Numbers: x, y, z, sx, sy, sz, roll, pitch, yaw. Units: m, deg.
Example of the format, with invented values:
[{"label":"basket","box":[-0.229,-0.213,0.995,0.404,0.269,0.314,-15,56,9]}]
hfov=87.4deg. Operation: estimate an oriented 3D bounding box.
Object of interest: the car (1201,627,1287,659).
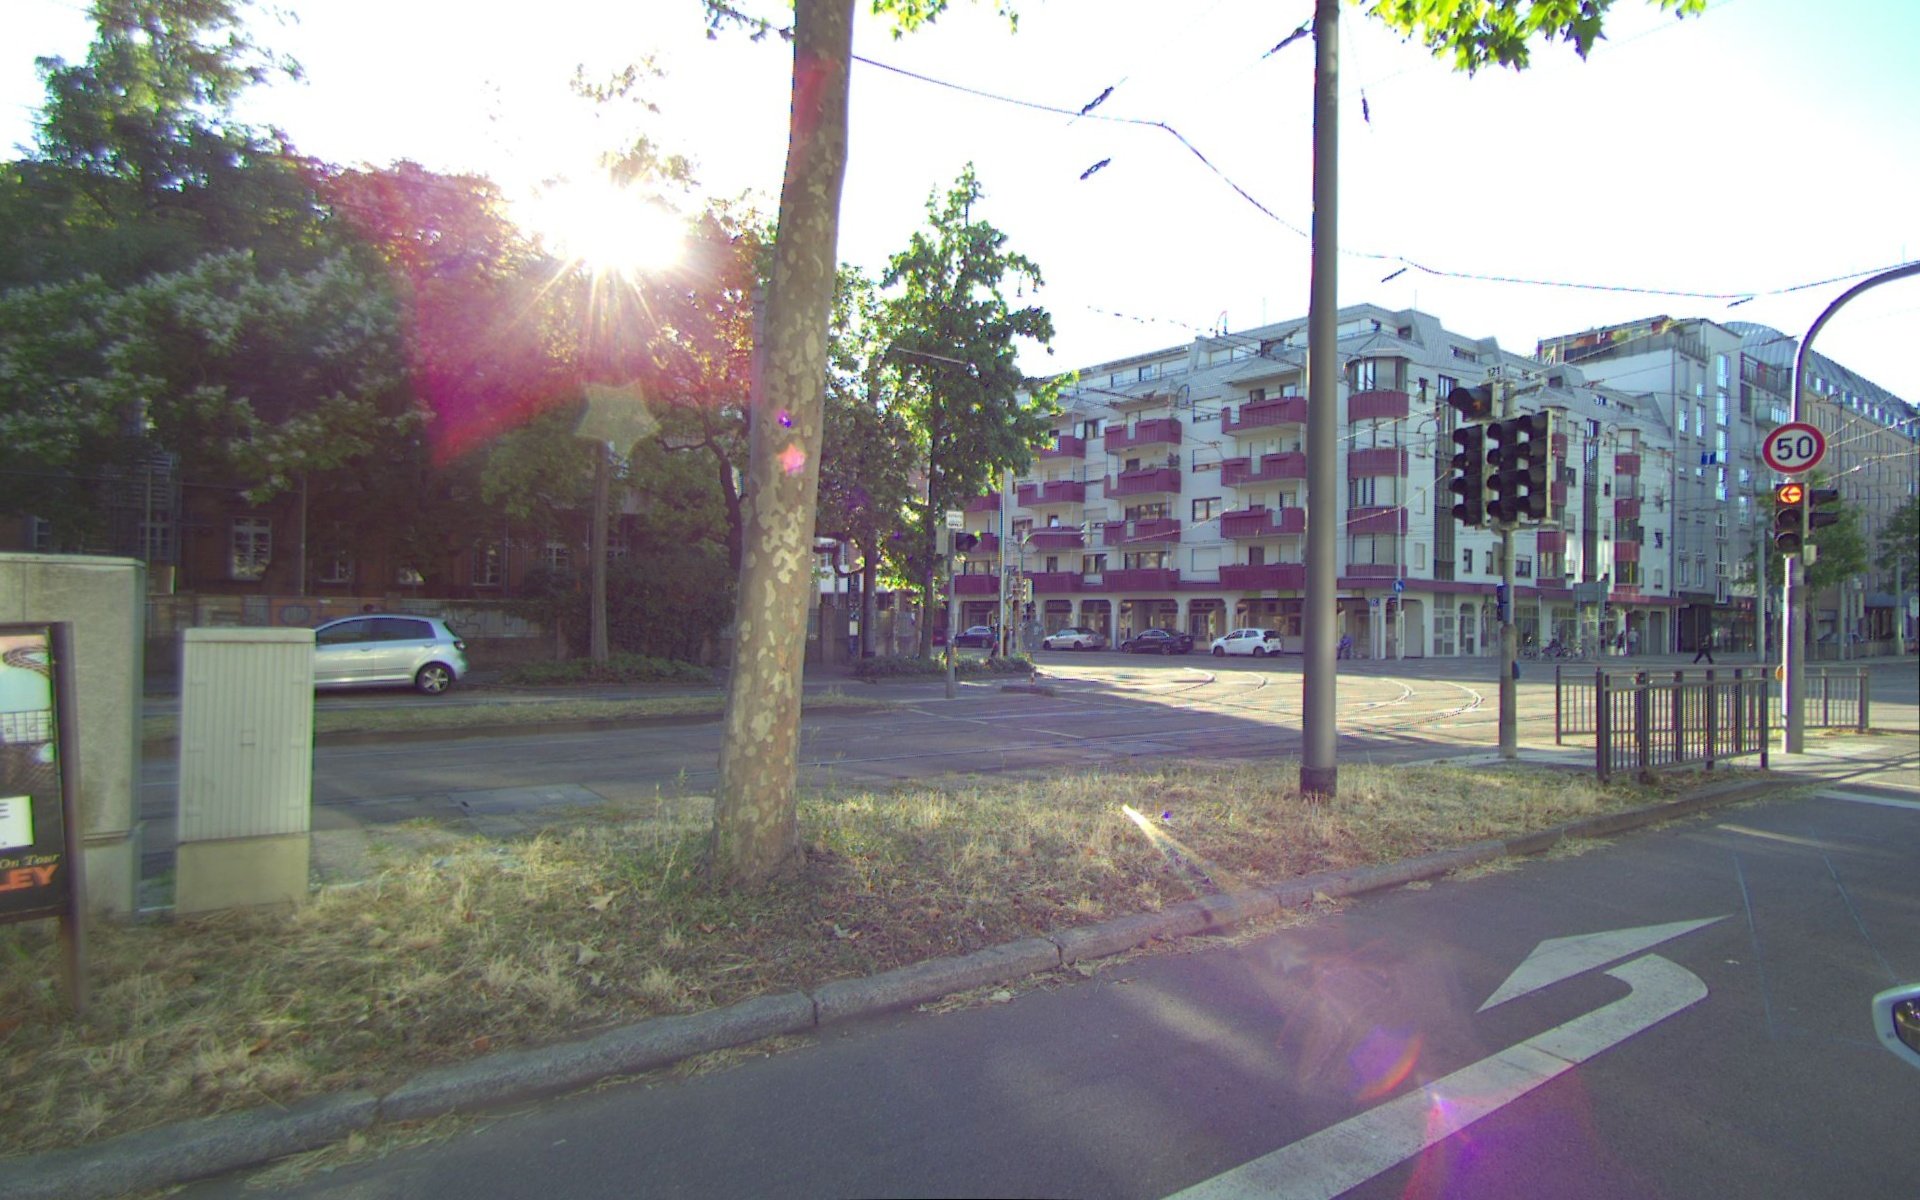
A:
[{"label":"car","box":[14.891,2.213,52.761,1.986,1.576,3.950,2,-2,-42]}]

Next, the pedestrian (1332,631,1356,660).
[{"label":"pedestrian","box":[19.104,2.252,49.940,0.848,1.402,0.831,0,-1,45]}]

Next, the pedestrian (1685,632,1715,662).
[{"label":"pedestrian","box":[38.344,2.430,52.036,0.684,1.564,1.045,1,-1,-19]}]

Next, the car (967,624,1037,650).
[{"label":"car","box":[2.721,2.417,66.230,1.986,1.576,4.527,2,-2,-42]}]

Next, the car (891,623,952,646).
[{"label":"car","box":[-2.811,2.449,72.202,1.986,1.576,4.527,2,-2,-42]}]

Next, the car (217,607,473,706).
[{"label":"car","box":[-11.955,1.042,19.621,4.062,1.641,2.065,2,1,-38]}]

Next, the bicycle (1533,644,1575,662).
[{"label":"bicycle","box":[30.410,2.694,51.446,0.547,0.865,1.833,1,-1,-32]}]

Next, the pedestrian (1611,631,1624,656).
[{"label":"pedestrian","box":[41.542,2.740,63.487,0.582,1.514,0.530,1,-1,-38]}]

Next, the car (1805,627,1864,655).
[{"label":"car","box":[55.851,2.606,64.121,4.219,1.695,1.942,1,-1,-36]}]

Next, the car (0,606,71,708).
[{"label":"car","box":[-16.900,0.871,15.633,4.418,1.522,2.065,2,1,-38]}]

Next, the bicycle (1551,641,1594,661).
[{"label":"bicycle","box":[31.979,2.654,52.451,0.548,0.998,1.830,1,-1,-36]}]

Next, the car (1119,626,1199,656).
[{"label":"car","box":[11.161,2.271,56.605,1.986,1.576,4.072,2,-2,-42]}]

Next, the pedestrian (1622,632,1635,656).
[{"label":"pedestrian","box":[41.939,2.750,63.042,0.582,1.514,0.530,1,-1,-38]}]

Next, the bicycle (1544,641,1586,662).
[{"label":"bicycle","box":[31.423,2.676,52.200,0.548,0.998,1.830,1,-1,-36]}]

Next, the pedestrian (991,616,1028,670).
[{"label":"pedestrian","box":[1.655,1.430,33.549,1.010,1.775,0.728,1,-1,-38]}]

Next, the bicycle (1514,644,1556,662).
[{"label":"bicycle","box":[29.493,2.689,51.525,0.547,0.865,1.833,1,-1,-32]}]

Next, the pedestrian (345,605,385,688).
[{"label":"pedestrian","box":[-12.370,0.958,20.894,0.626,1.687,0.563,1,1,-37]}]

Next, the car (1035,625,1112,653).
[{"label":"car","box":[6.888,2.354,61.192,1.986,1.576,4.527,2,-2,-42]}]
